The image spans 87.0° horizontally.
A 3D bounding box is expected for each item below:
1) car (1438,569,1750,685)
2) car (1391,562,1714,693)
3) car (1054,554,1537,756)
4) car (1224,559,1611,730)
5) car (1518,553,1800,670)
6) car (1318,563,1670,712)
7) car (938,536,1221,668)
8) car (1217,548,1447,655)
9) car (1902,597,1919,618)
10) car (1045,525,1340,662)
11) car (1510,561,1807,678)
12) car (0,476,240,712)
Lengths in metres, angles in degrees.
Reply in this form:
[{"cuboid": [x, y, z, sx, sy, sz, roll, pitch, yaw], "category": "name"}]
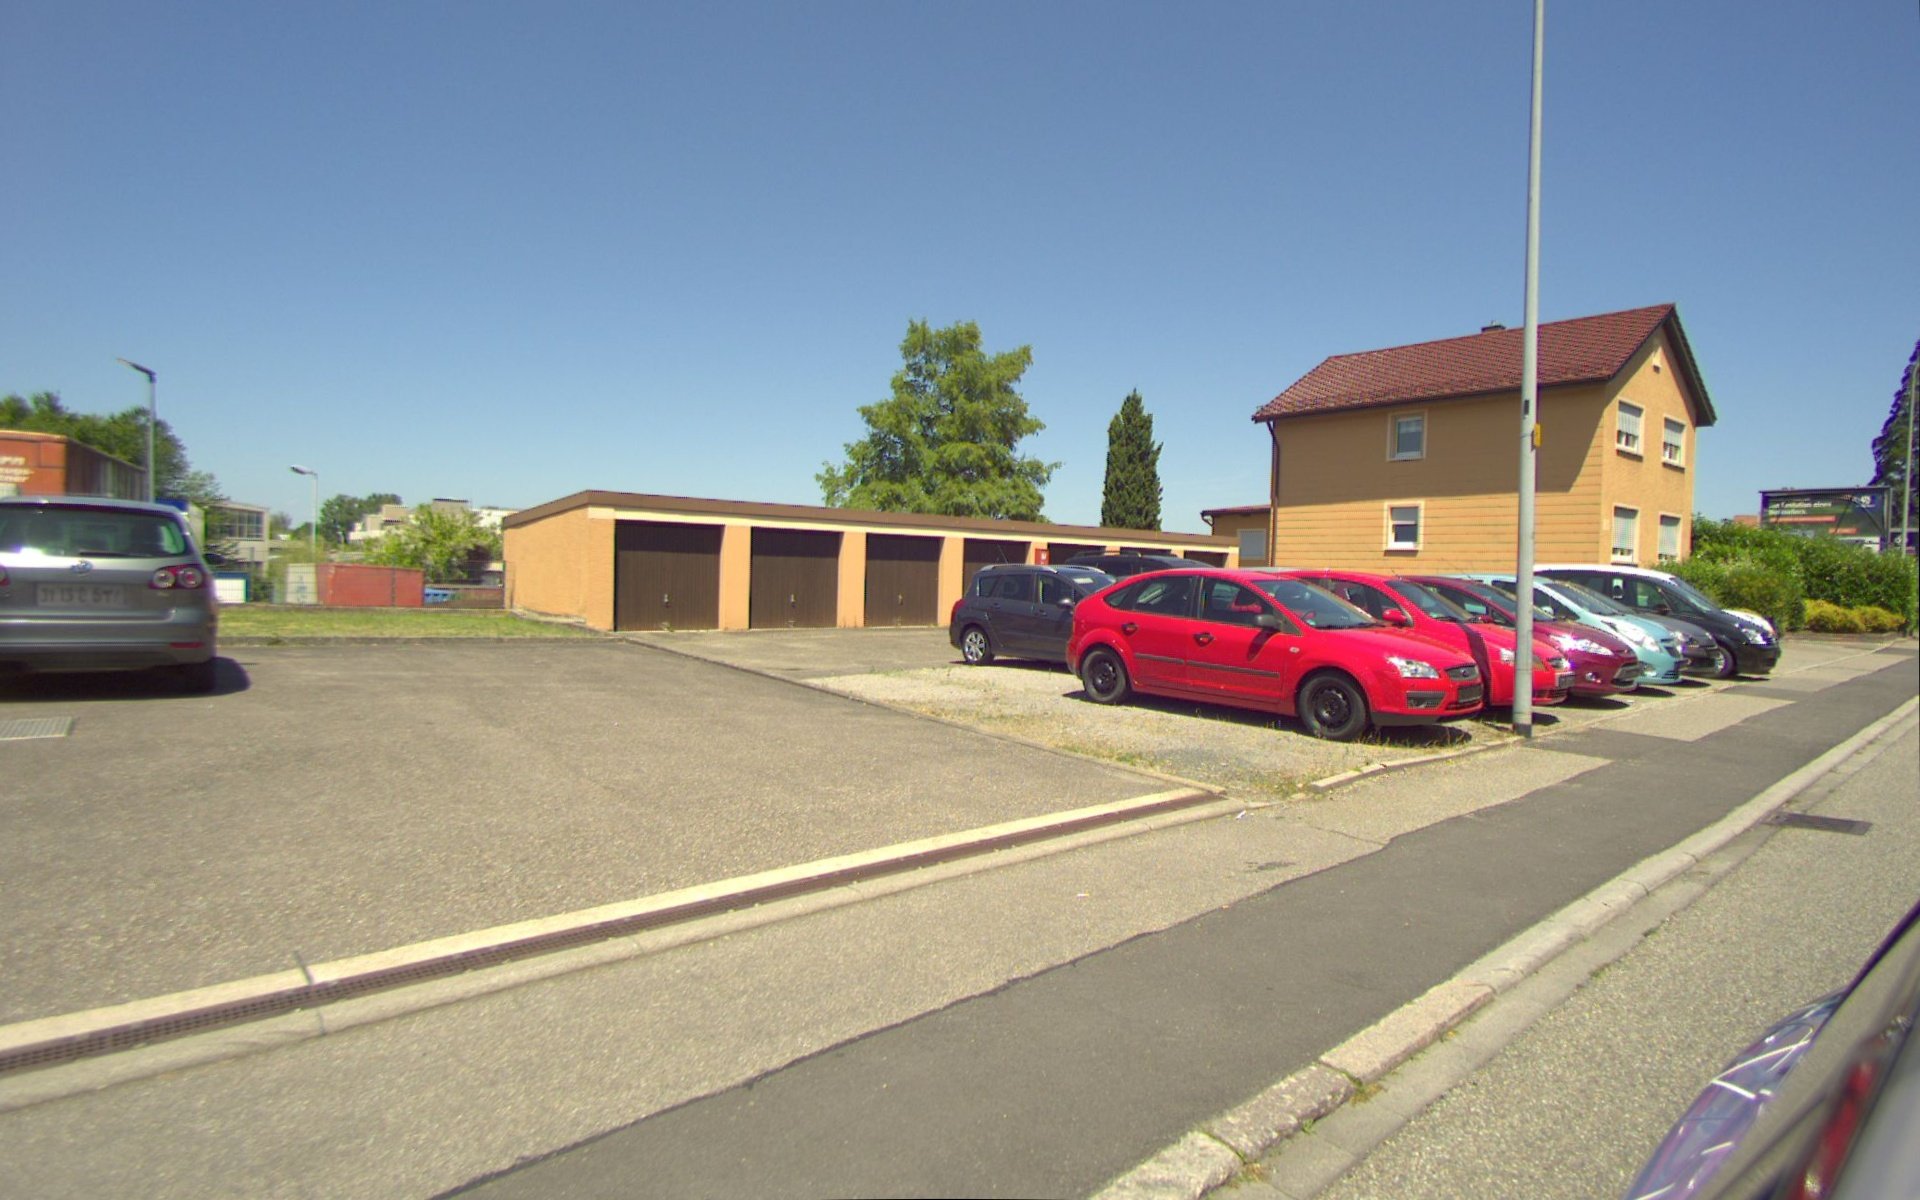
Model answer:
[{"cuboid": [9.960, 0.333, 16.116, 1.801, 1.528, 3.801, 1, 2, -40], "category": "car"}, {"cuboid": [8.428, 0.302, 14.626, 1.614, 1.586, 3.690, 1, 2, -43], "category": "car"}, {"cuboid": [3.171, 0.374, 10.253, 1.924, 1.553, 4.232, 1, 2, -41], "category": "car"}, {"cuboid": [5.139, 0.381, 11.683, 1.680, 1.586, 3.688, 1, 2, -44], "category": "car"}, {"cuboid": [13.066, 0.144, 19.072, 4.135, 1.962, 1.779, 2, 1, 44], "category": "car"}, {"cuboid": [6.831, 0.377, 13.191, 1.721, 1.586, 3.688, 1, 2, -44], "category": "car"}, {"cuboid": [1.643, 0.075, 15.035, 1.752, 1.689, 4.045, 0, -2, -41], "category": "car"}, {"cuboid": [7.158, 0.071, 19.772, 1.658, 1.862, 3.901, 0, -2, -39], "category": "car"}, {"cuboid": [64.469, 0.523, 66.497, 1.598, 1.400, 3.636, 0, 2, -40], "category": "car"}, {"cuboid": [3.655, -0.038, 16.514, 1.939, 1.921, 4.343, 1, -2, -43], "category": "car"}, {"cuboid": [11.840, 0.252, 17.339, 1.734, 1.701, 3.880, 1, 2, -43], "category": "car"}, {"cuboid": [-7.714, -0.095, 9.049, 1.912, 1.677, 3.998, 0, 1, -38], "category": "car"}]
